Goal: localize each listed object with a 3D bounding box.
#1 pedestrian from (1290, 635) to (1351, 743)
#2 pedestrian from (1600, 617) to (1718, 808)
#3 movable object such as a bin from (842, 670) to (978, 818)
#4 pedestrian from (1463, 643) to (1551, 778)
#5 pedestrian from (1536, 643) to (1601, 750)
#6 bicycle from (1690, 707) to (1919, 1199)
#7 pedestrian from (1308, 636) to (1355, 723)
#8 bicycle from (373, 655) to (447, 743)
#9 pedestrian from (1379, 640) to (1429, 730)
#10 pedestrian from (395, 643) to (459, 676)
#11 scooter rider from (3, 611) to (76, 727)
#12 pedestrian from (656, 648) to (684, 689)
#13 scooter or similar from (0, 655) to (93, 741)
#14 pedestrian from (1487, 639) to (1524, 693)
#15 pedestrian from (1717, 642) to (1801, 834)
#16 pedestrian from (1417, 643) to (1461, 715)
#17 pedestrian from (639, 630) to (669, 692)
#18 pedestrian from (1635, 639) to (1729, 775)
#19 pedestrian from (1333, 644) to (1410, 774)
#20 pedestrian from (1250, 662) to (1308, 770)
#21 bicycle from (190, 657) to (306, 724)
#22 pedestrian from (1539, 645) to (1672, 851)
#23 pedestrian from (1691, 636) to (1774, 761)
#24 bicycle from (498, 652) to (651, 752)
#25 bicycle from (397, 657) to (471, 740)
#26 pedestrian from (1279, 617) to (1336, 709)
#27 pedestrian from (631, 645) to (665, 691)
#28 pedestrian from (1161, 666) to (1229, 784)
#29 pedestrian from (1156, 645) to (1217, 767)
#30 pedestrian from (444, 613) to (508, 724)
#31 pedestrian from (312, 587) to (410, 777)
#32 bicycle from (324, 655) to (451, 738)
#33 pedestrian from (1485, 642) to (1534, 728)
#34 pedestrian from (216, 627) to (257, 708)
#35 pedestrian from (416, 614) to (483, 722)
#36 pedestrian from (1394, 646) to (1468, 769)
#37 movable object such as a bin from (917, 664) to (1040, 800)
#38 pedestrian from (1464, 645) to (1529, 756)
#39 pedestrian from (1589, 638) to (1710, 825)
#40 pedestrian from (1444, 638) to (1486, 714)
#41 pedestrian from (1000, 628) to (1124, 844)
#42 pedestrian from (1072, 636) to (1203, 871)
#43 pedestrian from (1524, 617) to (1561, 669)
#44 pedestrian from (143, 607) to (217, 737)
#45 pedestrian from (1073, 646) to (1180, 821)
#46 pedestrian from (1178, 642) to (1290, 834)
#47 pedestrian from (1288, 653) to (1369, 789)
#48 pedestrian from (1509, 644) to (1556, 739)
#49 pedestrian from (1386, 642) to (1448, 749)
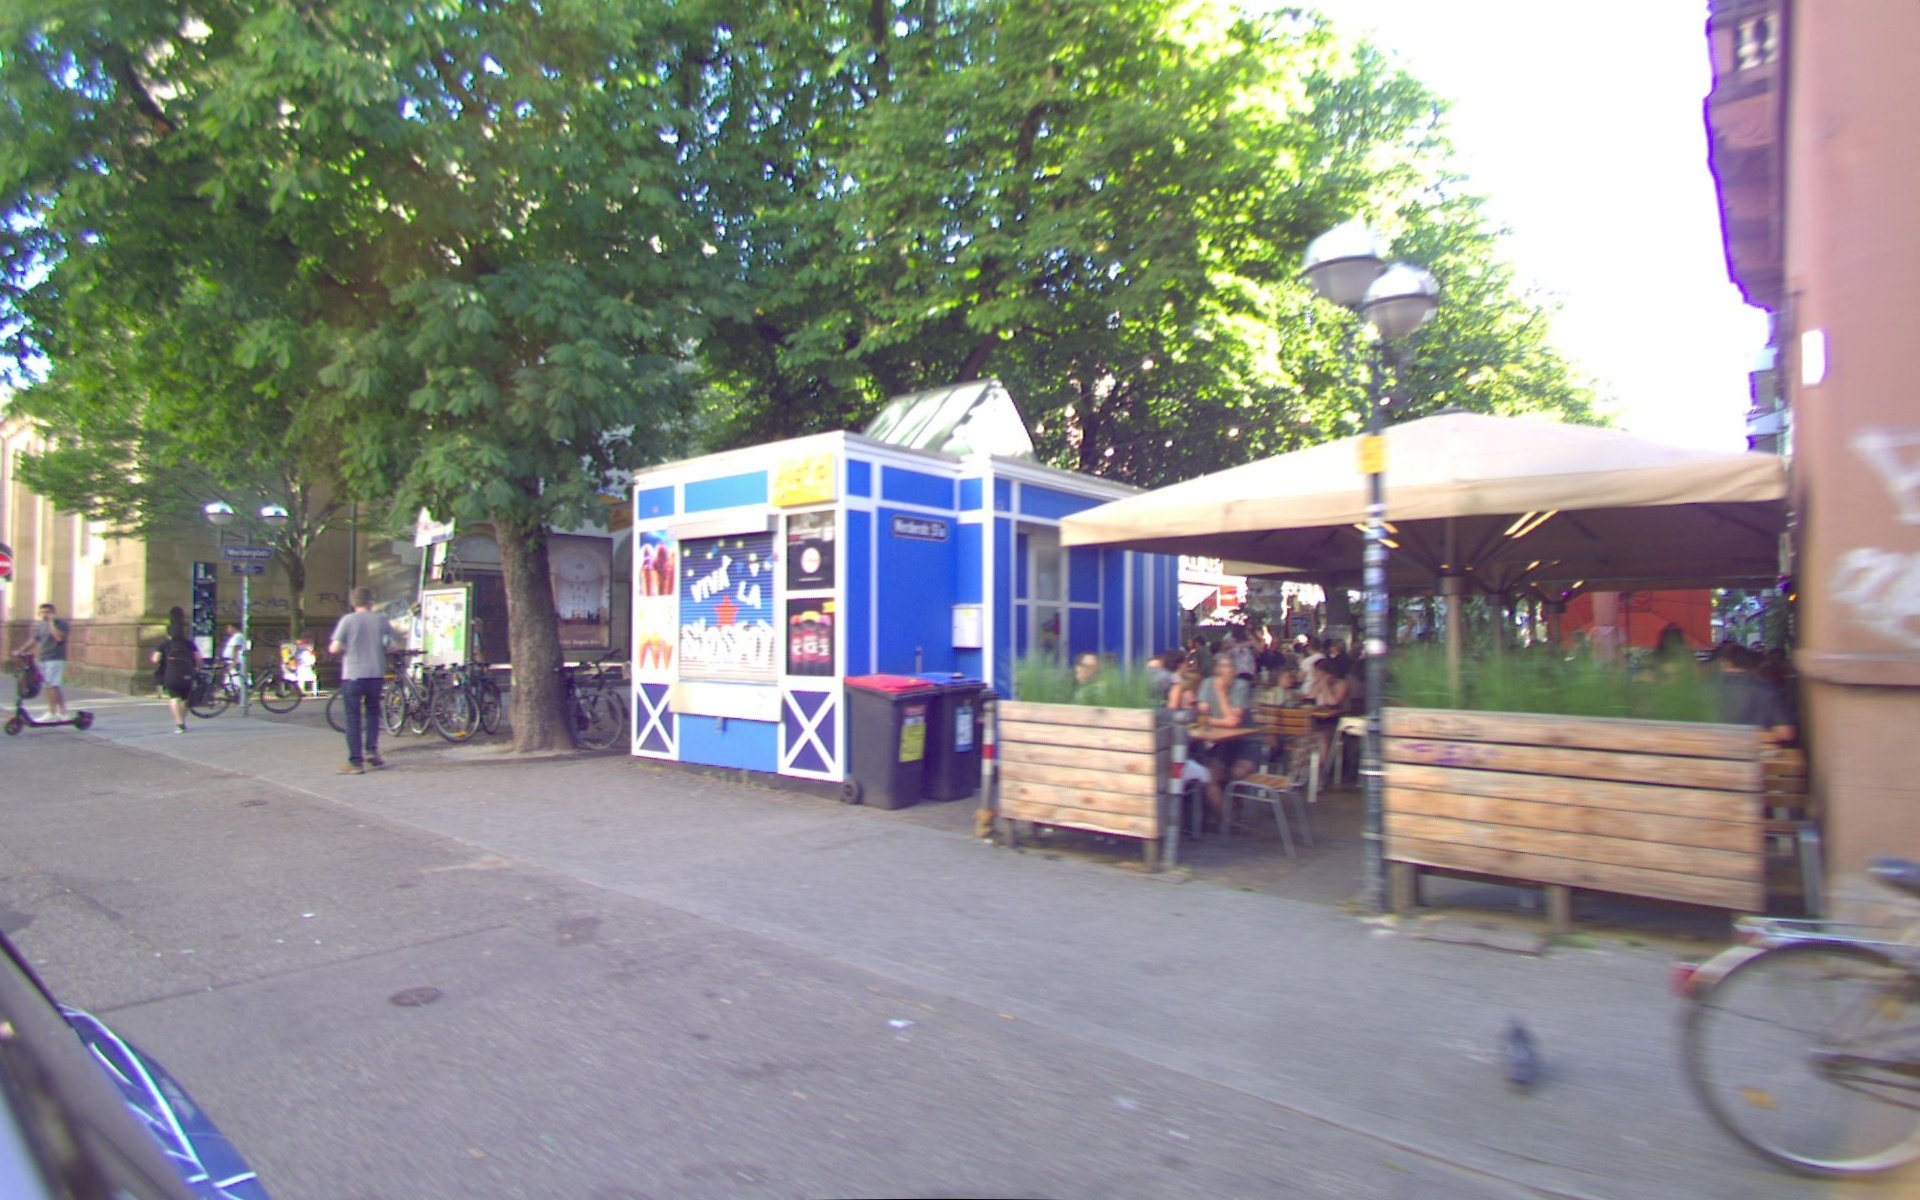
[{"bbox_3d":[4.937,1.203,13.862,0.621,1.430,0.510,-3,-4,39],"label":"pedestrian"},{"bbox_3d":[6.130,0.956,8.876,0.749,1.574,0.671,-3,-4,39],"label":"pedestrian"},{"bbox_3d":[-0.413,1.165,8.493,0.773,1.095,0.861,-1,-1,40],"label":"movable object such as a bin"},{"bbox_3d":[5.713,1.128,10.569,0.677,1.351,0.552,-3,-4,39],"label":"pedestrian"},{"bbox_3d":[7.810,1.223,12.998,0.621,1.329,0.467,-3,-4,39],"label":"pedestrian"},{"bbox_3d":[3.033,0.923,2.427,1.975,1.226,0.548,-1,-1,22],"label":"bicycle"},{"bbox_3d":[6.418,1.361,17.480,0.621,1.450,0.467,-3,-4,39],"label":"pedestrian"},{"bbox_3d":[-7.269,1.281,13.347,1.577,1.091,0.289,-3,-2,39],"label":"bicycle"},{"bbox_3d":[7.326,1.383,16.704,0.621,1.450,0.467,-3,-4,39],"label":"pedestrian"},{"bbox_3d":[-13.401,1.482,25.442,1.405,0.766,0.947,-1,-1,39],"label":"pedestrian"},{"bbox_3d":[-13.576,0.995,14.930,0.719,1.660,0.681,-1,-1,38],"label":"scooter rider"},{"bbox_3d":[-8.266,1.952,28.832,0.490,1.116,0.609,-1,-1,38],"label":"pedestrian"},{"bbox_3d":[-13.532,1.427,14.936,0.514,1.169,1.044,-1,-1,38],"label":"scooter or similar"},{"bbox_3d":[13.896,1.677,25.773,0.725,1.343,0.467,-3,-4,39],"label":"pedestrian"},{"bbox_3d":[5.378,0.902,6.817,0.420,1.195,0.438,1,3,39],"label":"pedestrian"},{"bbox_3d":[9.079,1.492,19.193,0.621,1.333,0.467,-3,-4,39],"label":"pedestrian"},{"bbox_3d":[-8.306,1.634,27.474,0.547,1.644,0.556,-1,-1,27],"label":"pedestrian"},{"bbox_3d":[7.842,1.132,10.995,0.749,1.403,0.671,-3,-4,39],"label":"pedestrian"},{"bbox_3d":[4.435,1.149,10.902,0.621,1.351,0.508,-3,-4,39],"label":"pedestrian"},{"bbox_3d":[3.386,1.212,10.722,0.425,1.079,0.507,-1,-2,40],"label":"pedestrian"},{"bbox_3d":[-12.693,1.593,18.085,0.346,1.073,1.674,-1,-1,37],"label":"bicycle"},{"bbox_3d":[4.639,1.013,7.270,0.691,1.371,0.671,-3,-4,39],"label":"pedestrian"},{"bbox_3d":[8.695,1.084,11.391,0.677,1.351,0.671,-3,-4,39],"label":"pedestrian"},{"bbox_3d":[-4.724,1.217,12.367,2.026,1.139,0.494,-2,-2,26],"label":"bicycle"},{"bbox_3d":[-7.074,1.301,13.590,1.577,1.054,0.289,-3,-3,39],"label":"bicycle"},{"bbox_3d":[5.023,0.903,14.634,0.621,1.296,0.510,-3,-4,39],"label":"pedestrian"},{"bbox_3d":[-8.722,1.886,28.304,0.740,1.241,0.607,-1,-1,38],"label":"pedestrian"},{"bbox_3d":[2.386,1.243,10.263,0.425,1.129,0.649,-1,-2,40],"label":"pedestrian"},{"bbox_3d":[2.456,1.131,10.983,0.514,1.273,0.420,-1,-2,40],"label":"pedestrian"},{"bbox_3d":[-8.295,1.154,17.362,0.687,1.849,0.754,-1,-1,37],"label":"pedestrian"},{"bbox_3d":[-6.081,0.797,10.283,0.697,1.847,0.640,-1,0,39],"label":"pedestrian"},{"bbox_3d":[-8.206,1.356,14.556,1.554,1.090,0.347,1,-1,-40],"label":"bicycle"},{"bbox_3d":[9.502,1.453,17.501,0.621,1.450,0.467,-3,-4,39],"label":"pedestrian"},{"bbox_3d":[-14.690,1.347,20.540,0.713,1.605,0.474,-1,-1,36],"label":"pedestrian"},{"bbox_3d":[-9.024,1.173,17.888,1.001,1.839,0.687,-1,-1,37],"label":"pedestrian"},{"bbox_3d":[5.332,1.193,11.449,0.621,1.329,0.508,-3,-4,39],"label":"pedestrian"},{"bbox_3d":[0.170,1.161,9.190,0.745,1.095,0.861,-1,-1,40],"label":"movable object such as a bin"},{"bbox_3d":[6.855,1.265,12.927,0.621,1.373,0.467,-3,-4,39],"label":"pedestrian"},{"bbox_3d":[5.387,0.988,7.911,0.691,1.371,0.611,-3,-4,39],"label":"pedestrian"},{"bbox_3d":[10.192,1.517,20.420,0.621,1.496,0.467,-3,-4,39],"label":"pedestrian"},{"bbox_3d":[0.748,0.941,7.362,0.616,1.456,0.699,-1,-1,38],"label":"pedestrian"},{"bbox_3d":[1.205,0.983,6.838,0.616,1.456,0.699,-1,-1,38],"label":"pedestrian"},{"bbox_3d":[15.168,1.123,26.362,0.725,1.343,0.467,-3,-4,39],"label":"pedestrian"},{"bbox_3d":[-11.655,1.048,15.127,0.719,1.887,0.709,-1,-1,39],"label":"pedestrian"},{"bbox_3d":[1.386,1.064,8.404,0.616,1.341,0.699,-1,-1,38],"label":"pedestrian"},{"bbox_3d":[2.147,1.032,7.915,0.616,1.386,0.699,-1,-1,38],"label":"pedestrian"},{"bbox_3d":[3.704,1.182,10.169,0.588,1.275,0.640,-1,-1,38],"label":"pedestrian"},{"bbox_3d":[8.522,1.352,15.060,0.501,1.373,0.467,-3,-4,39],"label":"pedestrian"},{"bbox_3d":[6.083,1.256,13.466,0.621,1.373,0.467,-3,-4,39],"label":"pedestrian"}]
